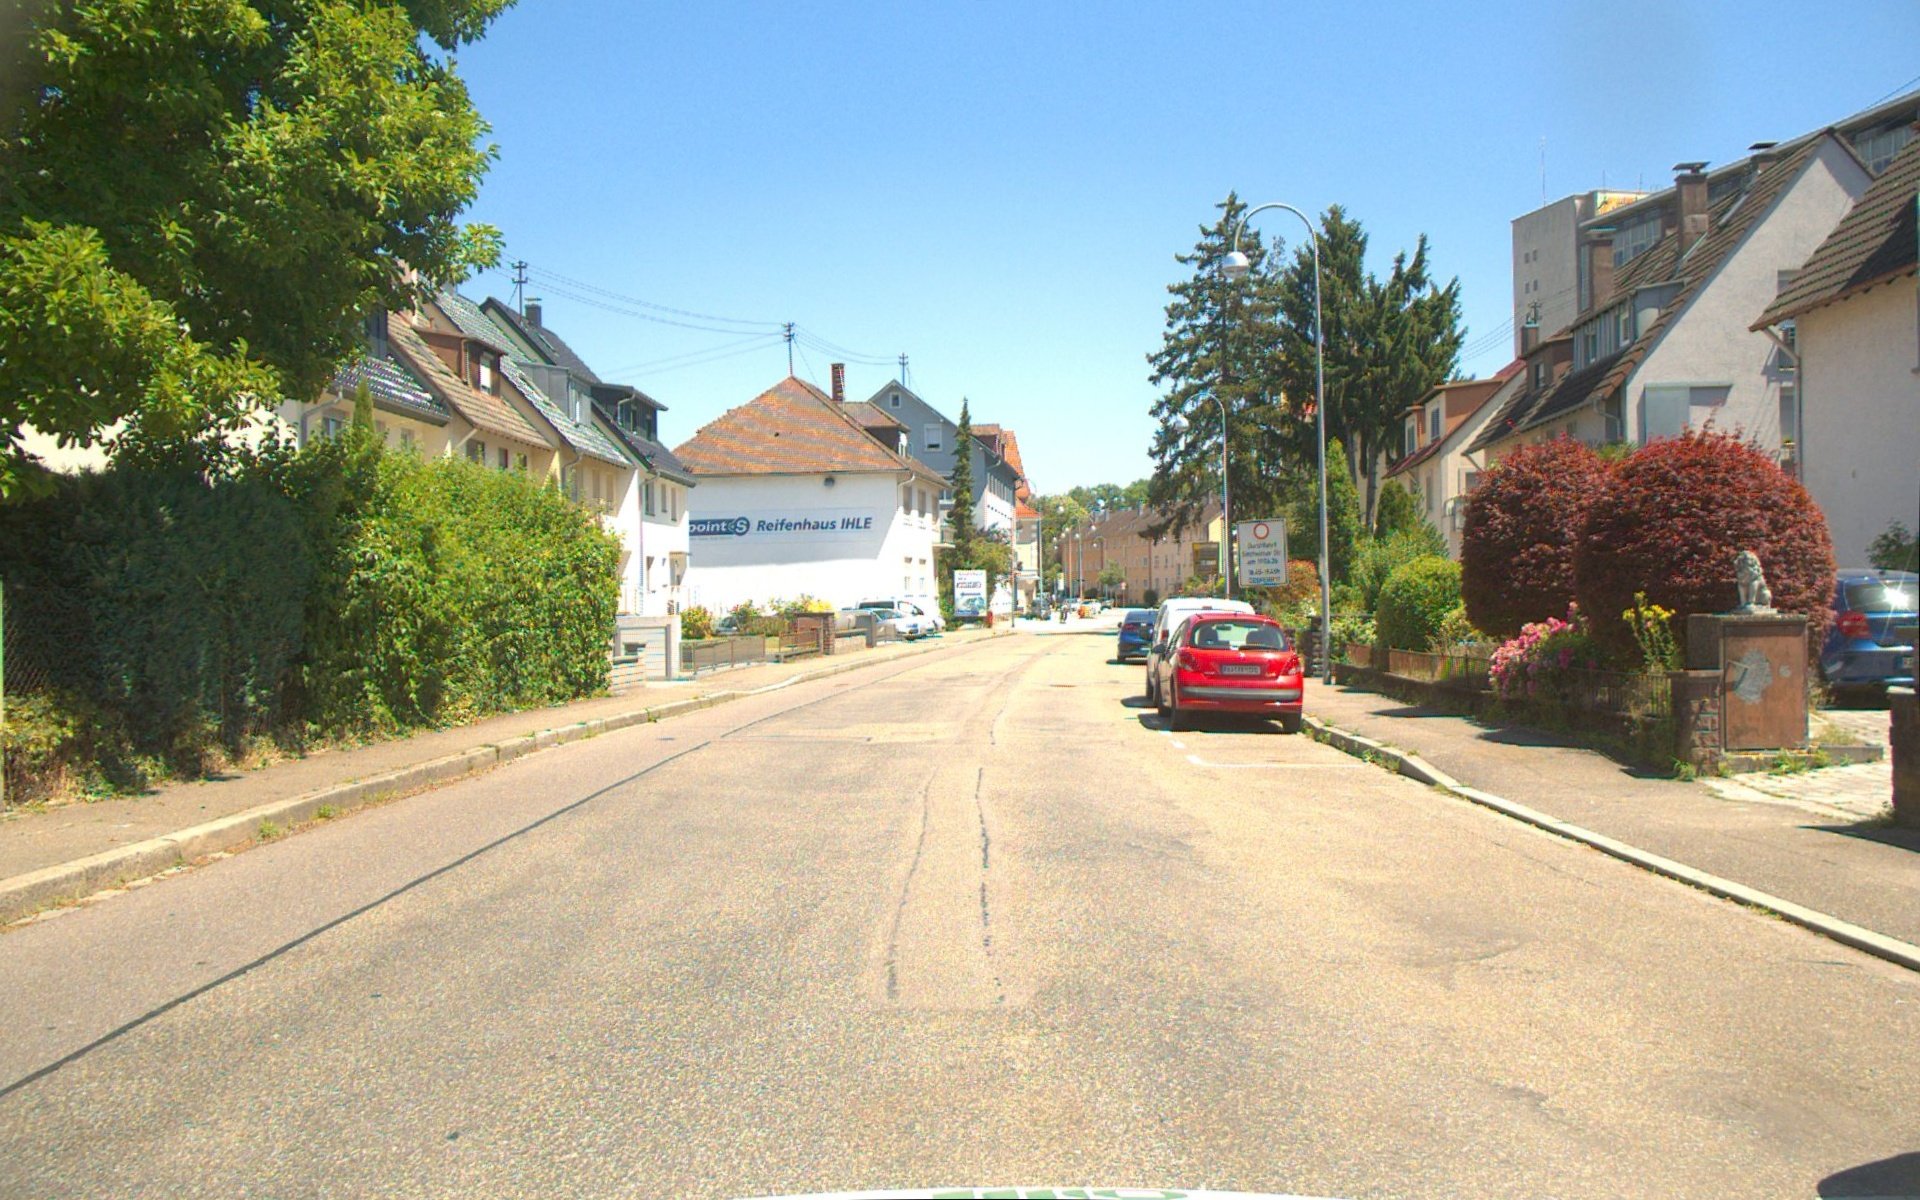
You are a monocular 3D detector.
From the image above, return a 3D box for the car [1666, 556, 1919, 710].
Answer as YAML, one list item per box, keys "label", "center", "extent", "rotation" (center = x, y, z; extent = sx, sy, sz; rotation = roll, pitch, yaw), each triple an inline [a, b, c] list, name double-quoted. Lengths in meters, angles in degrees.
- label: "car"
  center: [9.946, 0.305, 19.124]
  extent: [1.758, 1.536, 3.999]
  rotation: [-3, 1, -1]

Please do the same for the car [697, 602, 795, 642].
- label: "car"
  center: [-8.583, 0.870, 66.239]
  extent: [3.929, 1.536, 1.789]
  rotation: [0, 0, 42]

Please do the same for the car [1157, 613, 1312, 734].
- label: "car"
  center: [3.660, 0.930, 22.616]
  extent: [1.629, 1.480, 4.001]
  rotation: [1, 0, 3]

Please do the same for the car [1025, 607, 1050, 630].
- label: "car"
  center: [5.999, 1.400, 126.988]
  extent: [1.720, 1.685, 4.002]
  rotation: [0, 0, 5]

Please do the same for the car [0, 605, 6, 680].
- label: "car"
  center: [-21.401, 0.828, 32.749]
  extent: [3.910, 1.537, 1.798]
  rotation: [1, -1, -6]

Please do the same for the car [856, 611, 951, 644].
- label: "car"
  center: [-2.530, 1.230, 74.602]
  extent: [4.041, 1.419, 1.830]
  rotation: [-1, 0, 5]

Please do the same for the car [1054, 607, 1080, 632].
- label: "car"
  center: [7.665, 1.378, 118.360]
  extent: [1.720, 1.685, 4.003]
  rotation: [-1, 0, 5]

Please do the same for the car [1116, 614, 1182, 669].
- label: "car"
  center: [5.320, 1.133, 46.674]
  extent: [1.740, 1.430, 4.289]
  rotation: [1, 0, 6]

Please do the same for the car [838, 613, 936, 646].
- label: "car"
  center: [-3.183, 1.279, 71.615]
  extent: [4.065, 1.367, 1.901]
  rotation: [-1, 0, 40]

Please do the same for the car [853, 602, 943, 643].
- label: "car"
  center: [-2.852, 1.039, 77.032]
  extent: [4.043, 1.805, 1.829]
  rotation: [-1, 0, 2]

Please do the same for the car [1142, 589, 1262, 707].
- label: "car"
  center: [3.973, 0.784, 27.634]
  extent: [1.629, 1.786, 4.002]
  rotation: [2, -1, 4]

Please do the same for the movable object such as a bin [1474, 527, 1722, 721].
- label: "movable object such as a bin"
  center: [9.491, 0.344, 24.775]
  extent: [3.080, 2.795, 1.707]
  rotation: [0, -1, 1]

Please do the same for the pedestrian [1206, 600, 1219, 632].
- label: "pedestrian"
  center: [14.267, 0.897, 93.517]
  extent: [0.674, 1.802, 0.692]
  rotation: [0, -2, 13]

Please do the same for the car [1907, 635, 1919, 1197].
- label: "car"
  center: [3.262, 0.792, 2.249]
  extent: [1.622, 1.422, 3.999]
  rotation: [0, 0, -1]
